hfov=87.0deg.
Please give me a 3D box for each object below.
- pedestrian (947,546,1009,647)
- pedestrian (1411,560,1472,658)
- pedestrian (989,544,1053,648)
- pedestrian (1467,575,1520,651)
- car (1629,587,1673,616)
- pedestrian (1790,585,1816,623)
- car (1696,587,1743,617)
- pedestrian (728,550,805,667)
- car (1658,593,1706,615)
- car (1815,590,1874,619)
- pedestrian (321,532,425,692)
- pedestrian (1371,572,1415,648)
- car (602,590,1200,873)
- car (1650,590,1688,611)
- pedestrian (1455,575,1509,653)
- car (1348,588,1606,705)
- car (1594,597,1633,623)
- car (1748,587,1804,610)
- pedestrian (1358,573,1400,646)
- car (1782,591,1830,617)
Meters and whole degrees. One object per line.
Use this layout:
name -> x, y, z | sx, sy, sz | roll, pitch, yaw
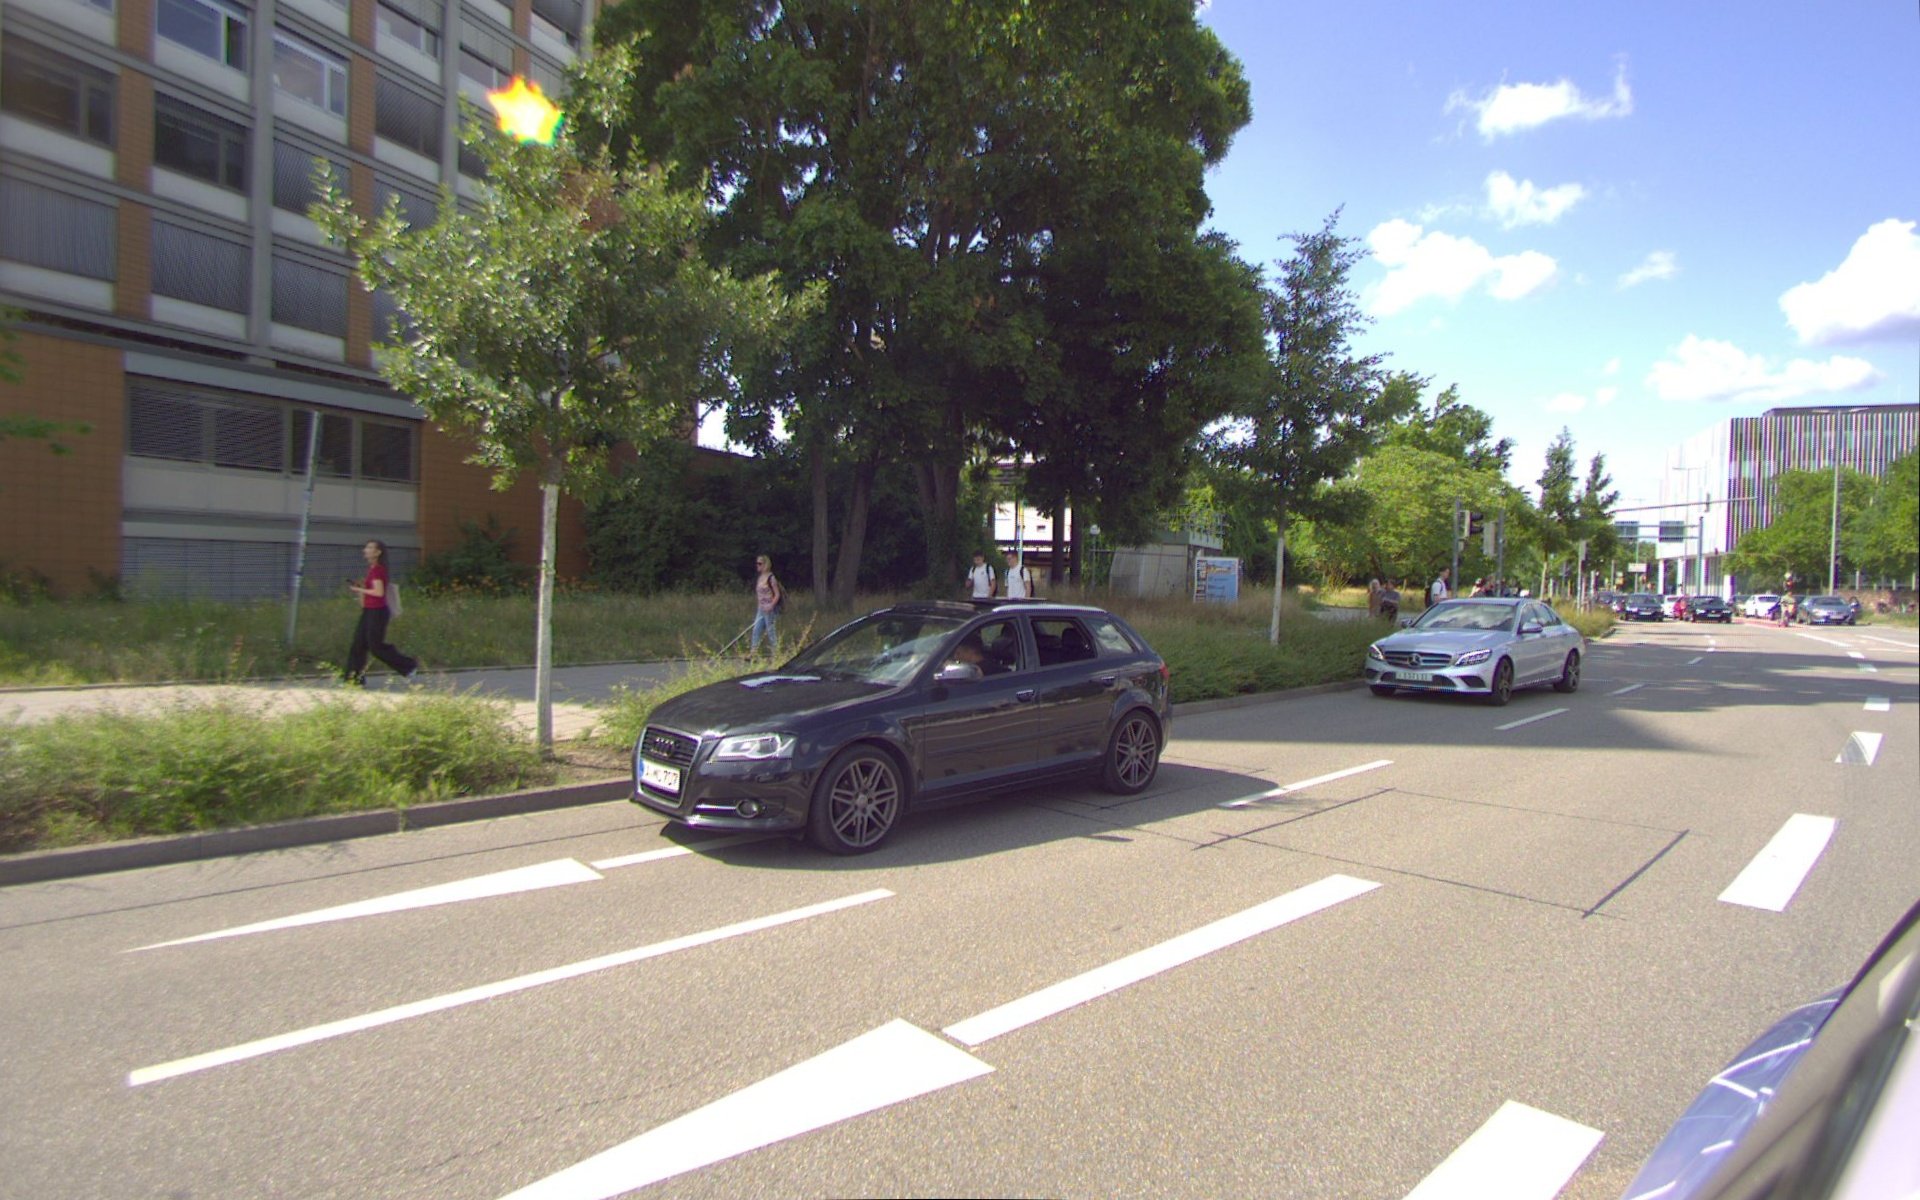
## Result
pedestrian -> 0.317, -0.082, 18.017 | 0.614, 1.720, 0.876 | 5, 4, 44
pedestrian -> 10.299, 0.190, 21.649 | 0.755, 2.039, 0.963 | 0, 0, -43
pedestrian -> 1.056, -0.092, 17.462 | 0.614, 1.720, 0.876 | 5, 4, 44
pedestrian -> 12.646, 0.295, 23.986 | 0.755, 1.757, 0.926 | 0, 0, -43
car -> 36.787, 0.062, 53.862 | 1.816, 1.481, 3.948 | 1, 1, 36
pedestrian -> 39.451, 0.173, 47.385 | 0.731, 1.736, 0.868 | 0, 0, 27
car -> 39.847, 0.089, 53.160 | 1.815, 1.481, 3.950 | 1, 1, 35
pedestrian -> -2.849, 0.109, 14.927 | 0.614, 1.642, 0.876 | 5, 4, 44
car -> 41.419, 0.193, 58.105 | 1.582, 1.148, 3.597 | 1, 1, 25
car -> 43.765, 0.192, 50.136 | 1.990, 1.393, 4.210 | 1, 1, 39
pedestrian -> -6.354, 0.108, 10.951 | 0.874, 1.642, 0.615 | 0, 4, -41
pedestrian -> 10.189, 0.229, 23.809 | 0.765, 1.757, 0.708 | 0, 0, 41
car -> -0.188, 0.644, 7.114 | 4.064, 1.389, 1.700 | 0, 2, -44
car -> 44.729, -0.017, 63.831 | 1.898, 1.148, 4.052 | 1, 3, 35
pedestrian -> 12.097, 0.304, 23.453 | 0.755, 1.757, 0.926 | 0, 0, -43
car -> 7.859, 0.572, 15.176 | 4.678, 1.473, 1.933 | 0, 1, -42
car -> 39.214, 0.566, 60.720 | 1.815, 1.481, 3.950 | 1, 1, 35
car -> 50.416, -0.106, 62.602 | 1.761, 1.371, 3.966 | 0, 1, 25
pedestrian -> 10.241, 0.227, 24.750 | 0.765, 1.757, 0.708 | 0, 0, 41
car -> 47.061, 0.199, 56.346 | 1.722, 1.351, 3.742 | 0, 1, 35
